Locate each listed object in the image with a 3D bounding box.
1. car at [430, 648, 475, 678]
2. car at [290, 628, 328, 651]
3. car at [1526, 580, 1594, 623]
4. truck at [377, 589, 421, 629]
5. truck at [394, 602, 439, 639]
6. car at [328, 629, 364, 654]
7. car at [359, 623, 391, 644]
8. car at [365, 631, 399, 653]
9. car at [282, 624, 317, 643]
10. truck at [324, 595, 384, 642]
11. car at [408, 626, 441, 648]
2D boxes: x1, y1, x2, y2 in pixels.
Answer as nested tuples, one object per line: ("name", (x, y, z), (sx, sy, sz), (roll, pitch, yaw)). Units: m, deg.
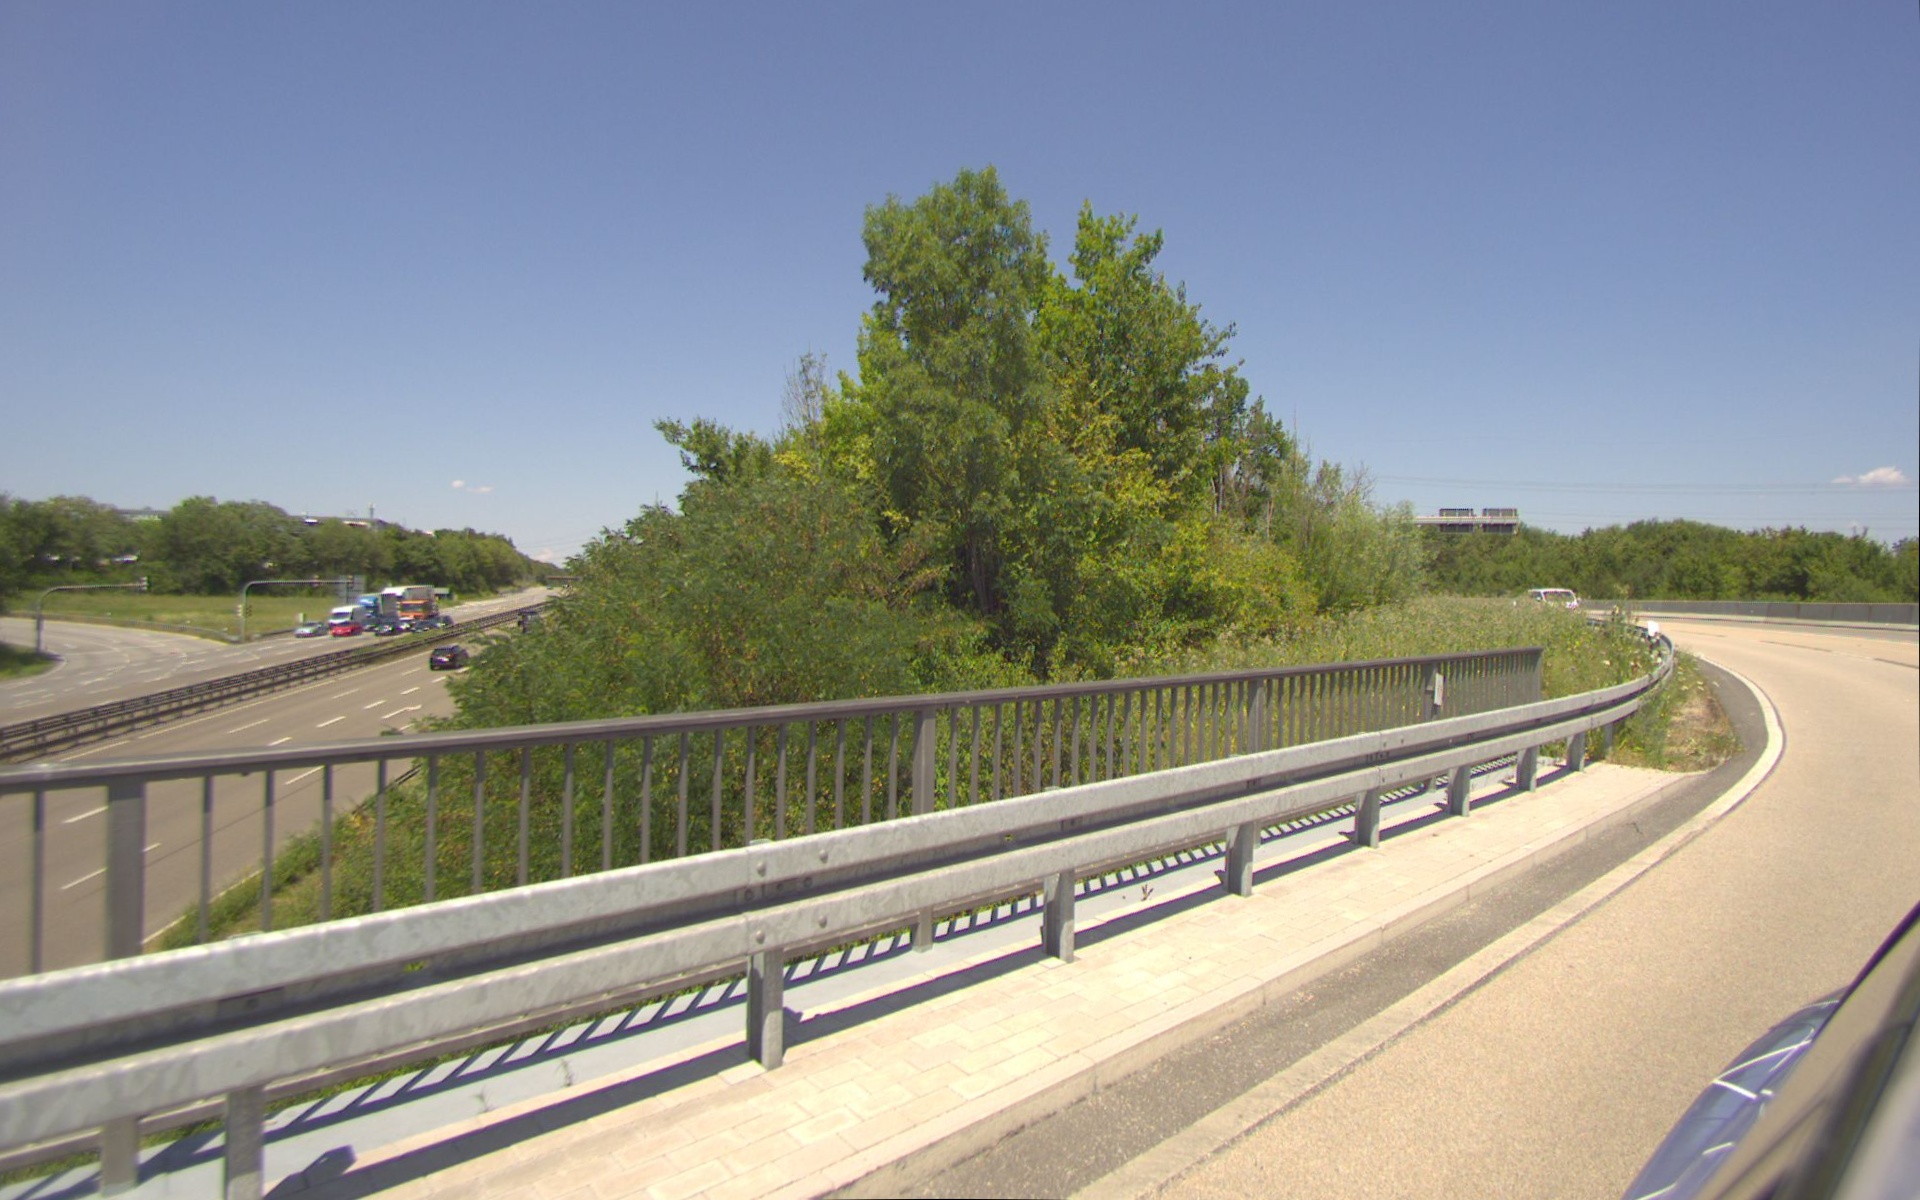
("car", (-36.868, 4.543, 73.612), (1.958, 1.880, 4.008), (-1, 0, -13))
("car", (-65.527, 3.958, 101.967), (1.958, 2.039, 4.008), (-1, 0, -13))
("car", (35.066, 0.024, 59.279), (2.004, 2.109, 5.845), (-1, 3, 16))
("truck", (-73.610, 1.137, 133.019), (2.372, 5.032, 11.102), (-1, 0, -15))
("truck", (-62.118, 2.264, 115.919), (2.656, 4.061, 8.901), (-1, 0, -16))
("car", (-61.821, 4.142, 101.895), (1.942, 2.237, 4.008), (-1, 0, -13))
("car", (-62.950, 3.582, 108.956), (1.958, 2.039, 4.008), (-1, 0, -13))
("car", (-58.411, 4.246, 102.308), (1.958, 2.039, 4.008), (-1, 0, -13))
("car", (-73.153, 3.723, 112.082), (1.958, 1.945, 4.008), (-1, 0, -13))
("truck", (-68.768, 1.961, 115.207), (2.523, 5.073, 12.431), (-1, 0, -15))
("car", (-54.764, 3.794, 103.556), (1.958, 2.039, 4.008), (-1, 0, -13))
